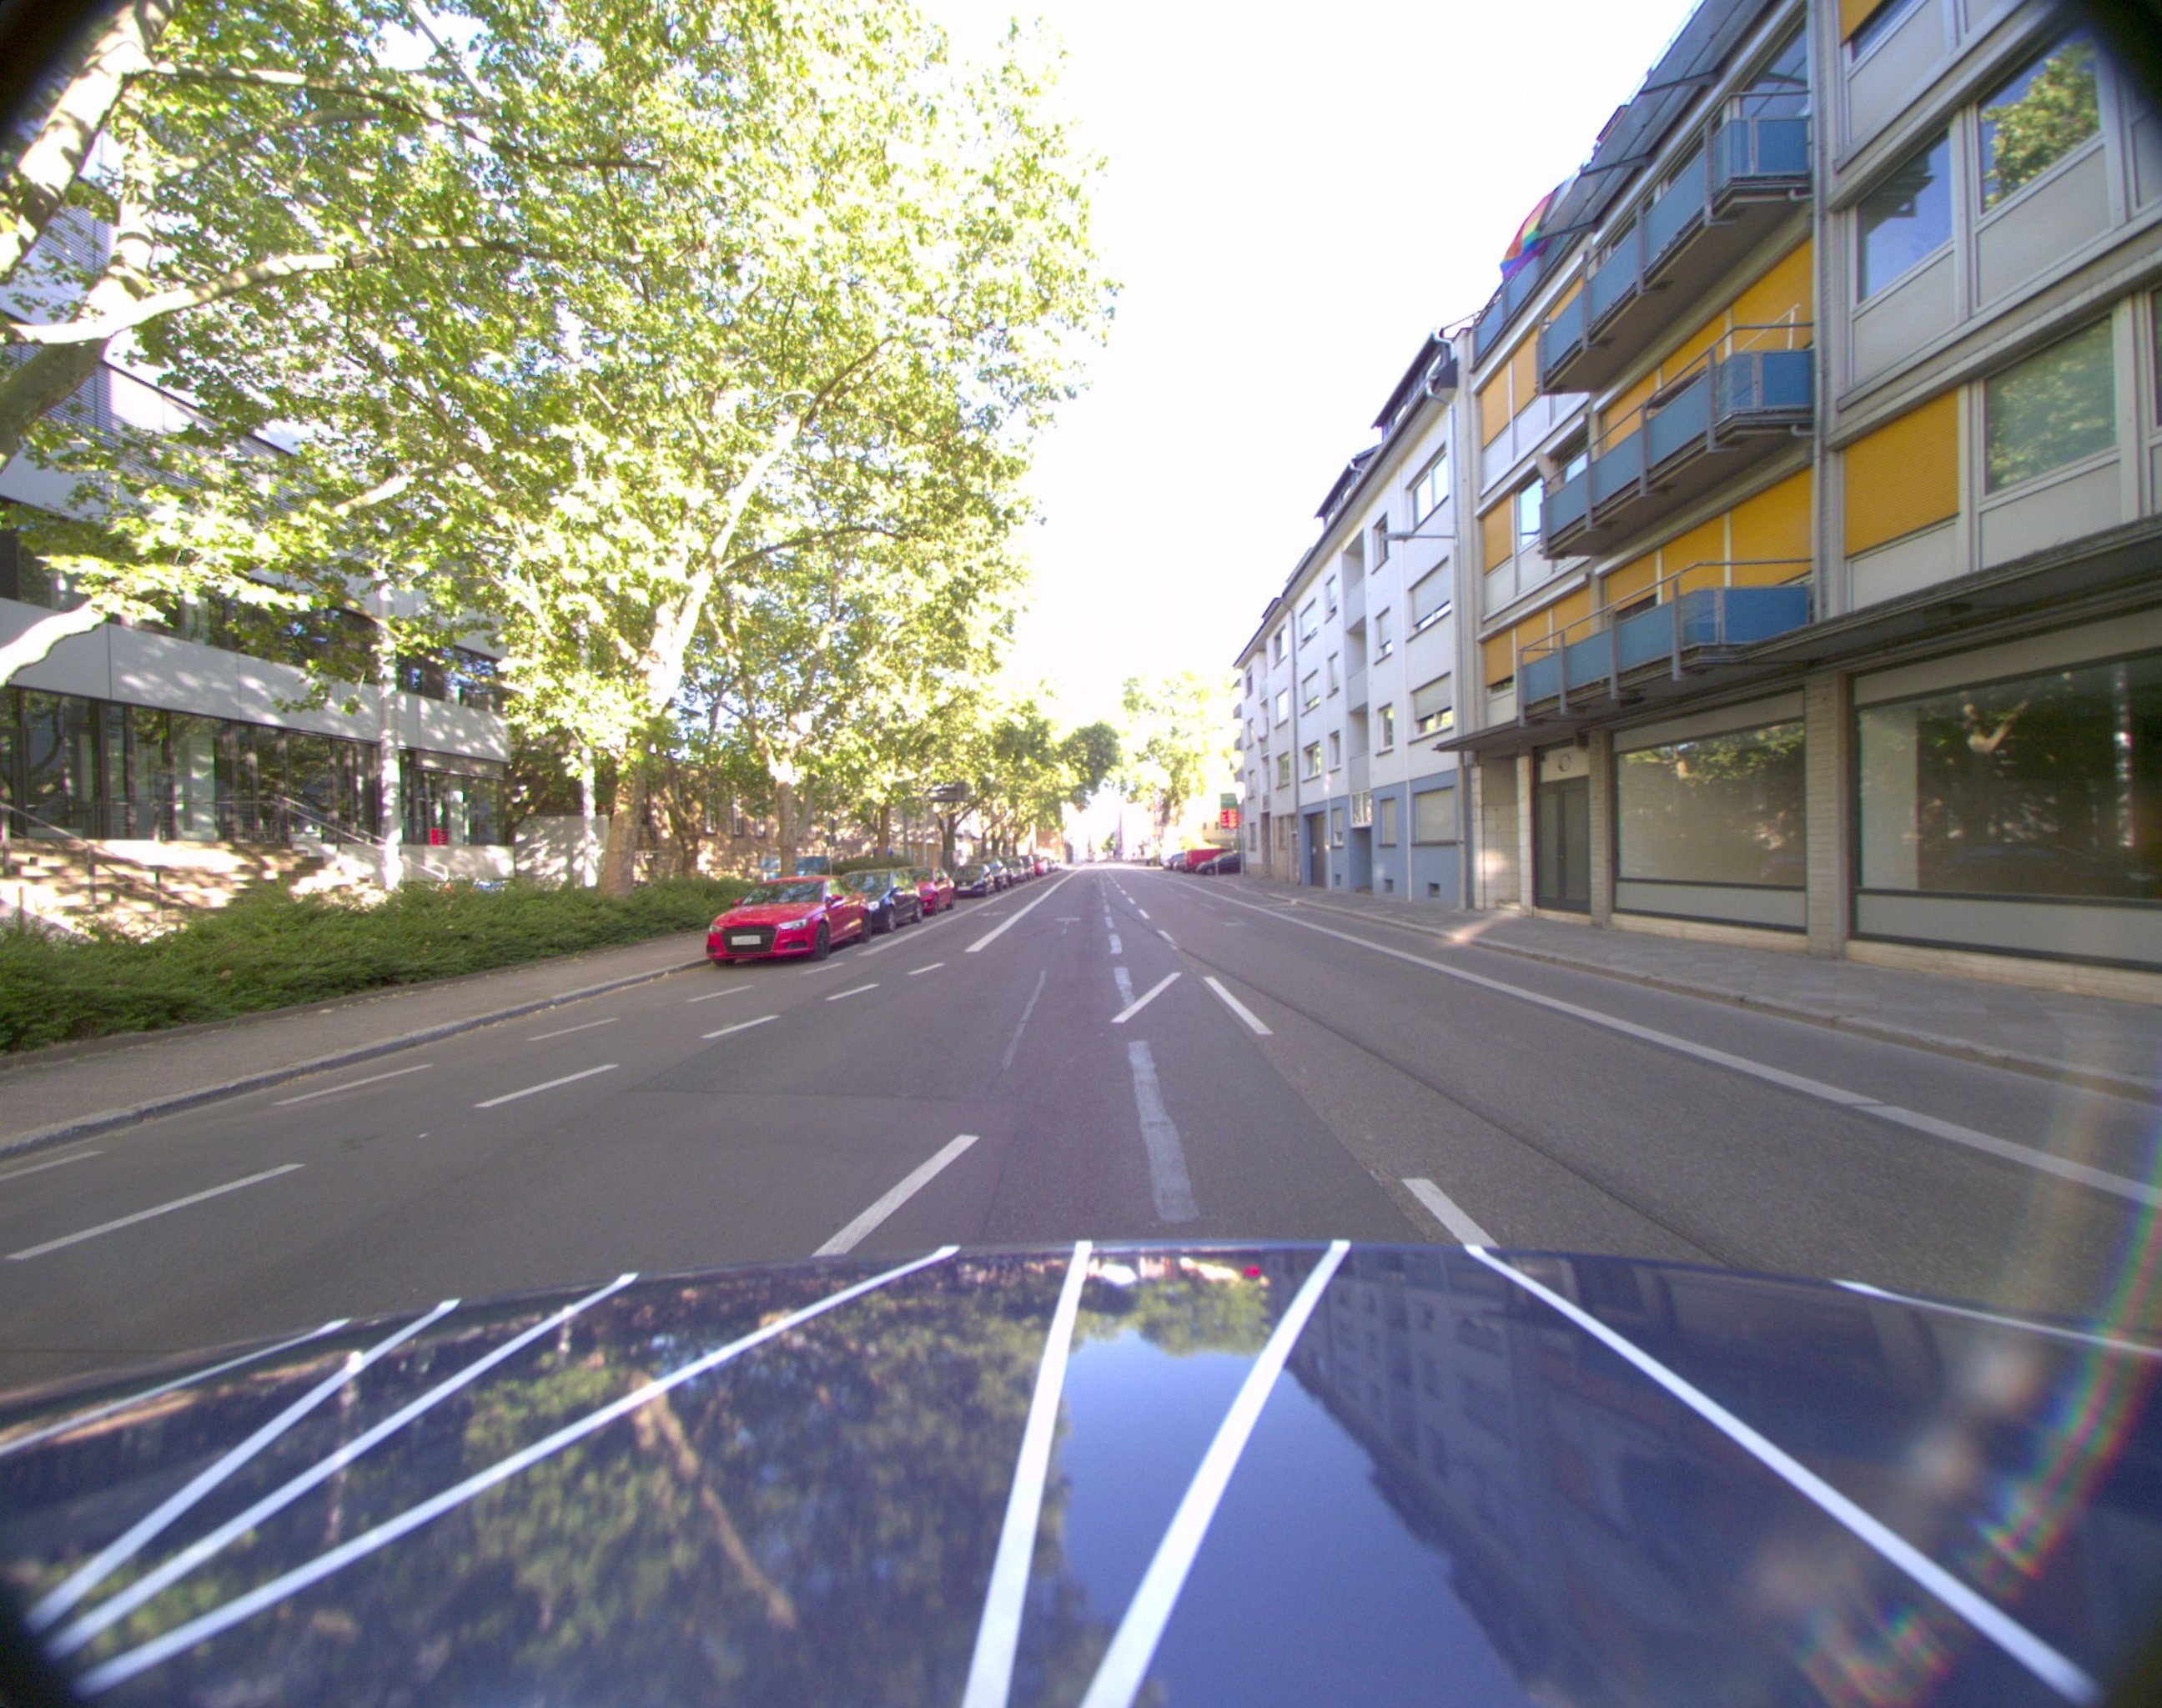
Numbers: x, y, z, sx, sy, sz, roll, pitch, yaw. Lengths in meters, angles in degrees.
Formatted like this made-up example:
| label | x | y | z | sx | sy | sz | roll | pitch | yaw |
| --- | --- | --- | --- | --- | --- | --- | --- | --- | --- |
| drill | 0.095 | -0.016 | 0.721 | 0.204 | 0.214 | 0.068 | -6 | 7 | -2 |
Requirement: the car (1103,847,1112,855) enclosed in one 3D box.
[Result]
| label | x | y | z | sx | sy | sz | roll | pitch | yaw |
| --- | --- | --- | --- | --- | --- | --- | --- | --- | --- |
| car | 6.759 | -0.807 | 193.465 | 1.998 | 2.002 | 3.999 | -2 | 1 | 1 |

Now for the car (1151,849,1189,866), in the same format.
| label | x | y | z | sx | sy | sz | roll | pitch | yaw |
| --- | --- | --- | --- | --- | --- | --- | --- | --- | --- |
| car | 9.482 | 0.368 | 80.864 | 3.728 | 1.579 | 1.743 | -2 | 1 | -5 |

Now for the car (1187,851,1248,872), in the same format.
| label | x | y | z | sx | sy | sz | roll | pitch | yaw |
| --- | --- | --- | --- | --- | --- | --- | --- | --- | --- |
| car | 9.814 | 0.524 | 54.845 | 3.997 | 1.385 | 1.781 | -2 | 1 | -1 |

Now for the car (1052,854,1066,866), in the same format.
| label | x | y | z | sx | sy | sz | roll | pitch | yaw |
| --- | --- | --- | --- | --- | --- | --- | --- | --- | --- |
| car | -2.980 | 0.811 | 102.795 | 1.707 | 1.459 | 3.809 | -1 | 0 | 0 |

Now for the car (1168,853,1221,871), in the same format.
| label | x | y | z | sx | sy | sz | roll | pitch | yaw |
| --- | --- | --- | --- | --- | --- | --- | --- | --- | --- |
| car | 9.331 | 0.633 | 62.817 | 4.033 | 1.265 | 1.906 | -2 | 1 | -1 |

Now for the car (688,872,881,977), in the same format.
| label | x | y | z | sx | sy | sz | roll | pitch | yaw |
| --- | --- | --- | --- | --- | --- | --- | --- | --- | --- |
| car | -5.076 | 1.123 | 13.683 | 1.775 | 1.416 | 4.173 | -3 | 0 | 0 |

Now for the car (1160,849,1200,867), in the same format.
| label | x | y | z | sx | sy | sz | roll | pitch | yaw |
| --- | --- | --- | --- | --- | --- | --- | --- | --- | --- |
| car | 9.875 | 0.376 | 75.914 | 3.658 | 1.578 | 1.659 | -2 | 1 | -5 |

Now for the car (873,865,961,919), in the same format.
| label | x | y | z | sx | sy | sz | roll | pitch | yaw |
| --- | --- | --- | --- | --- | --- | --- | --- | --- | --- |
| car | -4.994 | 1.112 | 23.625 | 1.790 | 1.429 | 4.000 | -1 | 0 | 1 |

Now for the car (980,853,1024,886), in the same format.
| label | x | y | z | sx | sy | sz | roll | pitch | yaw |
| --- | --- | --- | --- | --- | --- | --- | --- | --- | --- |
| car | -4.549 | 0.864 | 44.196 | 1.998 | 1.715 | 4.262 | -2 | 1 | 1 |

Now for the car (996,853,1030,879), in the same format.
| label | x | y | z | sx | sy | sz | roll | pitch | yaw |
| --- | --- | --- | --- | --- | --- | --- | --- | --- | --- |
| car | -4.444 | 0.735 | 50.457 | 1.798 | 1.608 | 4.075 | -1 | 0 | 1 |

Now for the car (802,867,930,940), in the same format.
| label | x | y | z | sx | sy | sz | roll | pitch | yaw |
| --- | --- | --- | --- | --- | --- | --- | --- | --- | --- |
| car | -5.039 | 1.112 | 18.371 | 1.813 | 1.449 | 4.000 | -1 | 0 | 2 |

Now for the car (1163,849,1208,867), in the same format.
| label | x | y | z | sx | sy | sz | roll | pitch | yaw |
| --- | --- | --- | --- | --- | --- | --- | --- | --- | --- |
| car | 10.078 | 0.390 | 73.366 | 3.998 | 1.618 | 1.702 | -2 | 1 | -5 |

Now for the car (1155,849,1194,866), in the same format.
| label | x | y | z | sx | sy | sz | roll | pitch | yaw |
| --- | --- | --- | --- | --- | --- | --- | --- | --- | --- |
| car | 9.611 | 0.372 | 78.572 | 3.703 | 1.573 | 1.718 | -2 | 1 | -5 |

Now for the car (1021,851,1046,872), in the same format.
| label | x | y | z | sx | sy | sz | roll | pitch | yaw |
| --- | --- | --- | --- | --- | --- | --- | --- | --- | --- |
| car | -4.111 | 0.611 | 66.183 | 1.876 | 1.685 | 4.166 | -1 | 0 | 1 |

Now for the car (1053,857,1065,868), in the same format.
| label | x | y | z | sx | sy | sz | roll | pitch | yaw |
| --- | --- | --- | --- | --- | --- | --- | --- | --- | --- |
| car | -2.632 | 1.023 | 92.248 | 1.300 | 1.220 | 3.241 | -1 | 0 | 0 |

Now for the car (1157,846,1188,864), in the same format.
| label | x | y | z | sx | sy | sz | roll | pitch | yaw |
| --- | --- | --- | --- | --- | --- | --- | --- | --- | --- |
| car | 10.227 | 0.101 | 85.270 | 3.267 | 1.927 | 1.693 | -2 | 1 | 2 |

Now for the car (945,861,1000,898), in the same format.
| label | x | y | z | sx | sy | sz | roll | pitch | yaw |
| --- | --- | --- | --- | --- | --- | --- | --- | --- | --- |
| car | -4.680 | 1.079 | 33.267 | 1.745 | 1.430 | 4.000 | -1 | 0 | 1 |

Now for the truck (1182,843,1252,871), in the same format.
| label | x | y | z | sx | sy | sz | roll | pitch | yaw |
| --- | --- | --- | --- | --- | --- | --- | --- | --- | --- |
| truck | 10.723 | 0.233 | 60.100 | 5.088 | 2.009 | 2.000 | -2 | 1 | 0 |

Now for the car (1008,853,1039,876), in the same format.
| label | x | y | z | sx | sy | sz | roll | pitch | yaw |
| --- | --- | --- | --- | --- | --- | --- | --- | --- | --- |
| car | -4.173 | 0.746 | 55.513 | 1.831 | 1.608 | 4.177 | -1 | 0 | 1 |

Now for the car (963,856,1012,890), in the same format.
| label | x | y | z | sx | sy | sz | roll | pitch | yaw |
| --- | --- | --- | --- | --- | --- | --- | --- | --- | --- |
| car | -4.626 | 0.917 | 38.213 | 1.848 | 1.572 | 4.232 | -2 | 0 | 1 |
